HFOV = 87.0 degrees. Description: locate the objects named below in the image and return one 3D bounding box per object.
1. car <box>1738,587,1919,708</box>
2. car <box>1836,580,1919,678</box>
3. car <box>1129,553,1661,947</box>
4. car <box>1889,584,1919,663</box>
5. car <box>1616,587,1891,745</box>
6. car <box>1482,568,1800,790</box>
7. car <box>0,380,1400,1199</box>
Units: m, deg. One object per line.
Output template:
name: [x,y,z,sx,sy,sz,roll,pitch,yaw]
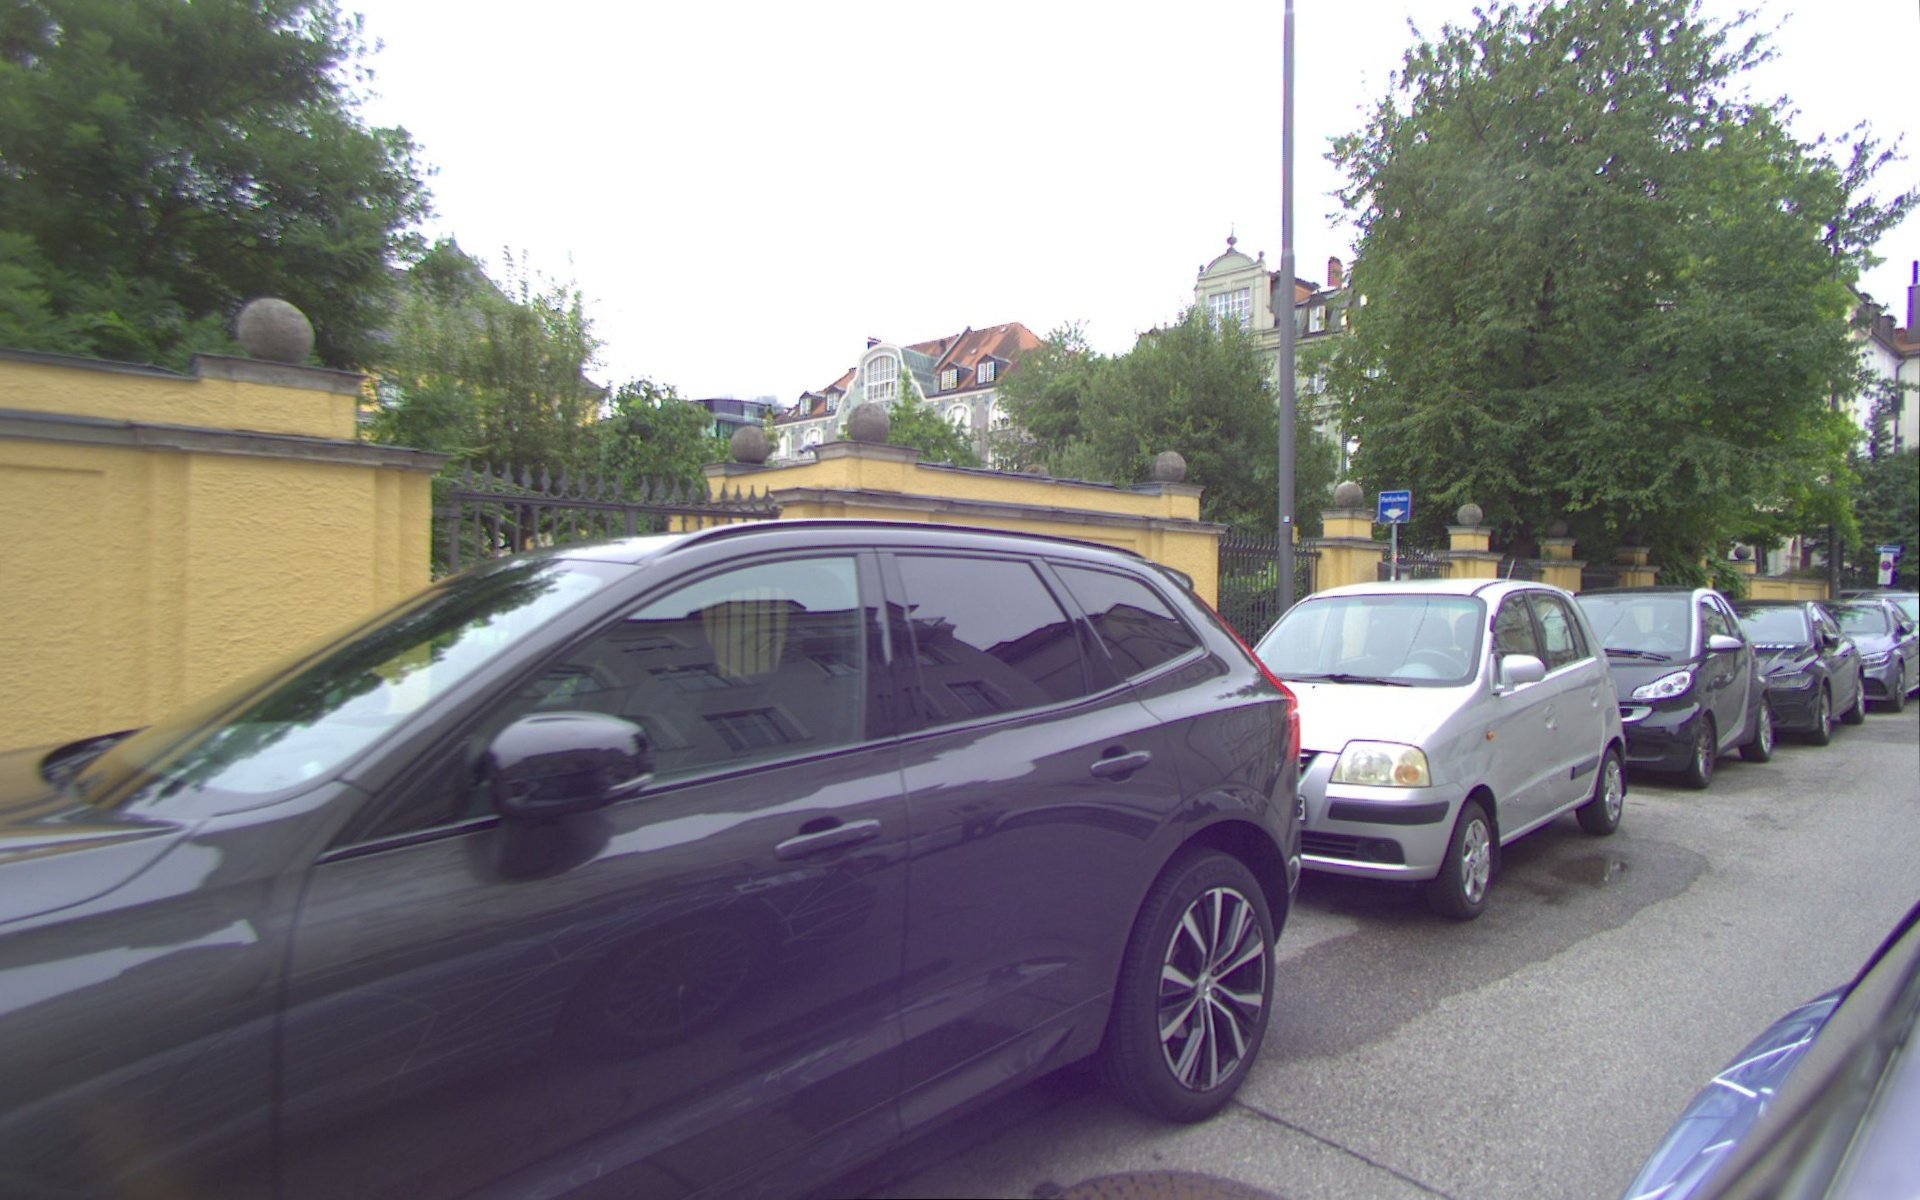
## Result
car: [12.711,0.564,14.363,4.435,1.432,1.696,0,1,-40]
car: [17.289,0.469,18.127,4.608,1.590,1.716,0,1,-40]
car: [2.680,0.598,5.812,3.631,1.559,1.485,0,-1,-43]
car: [21.131,0.481,21.352,4.243,1.590,1.716,0,1,-40]
car: [8.850,0.604,11.171,3.967,1.433,1.694,0,-1,-42]
car: [5.918,0.569,8.724,2.818,1.586,1.511,0,-1,-39]
car: [-0.868,0.601,2.576,4.742,1.674,1.886,0,-1,-43]
